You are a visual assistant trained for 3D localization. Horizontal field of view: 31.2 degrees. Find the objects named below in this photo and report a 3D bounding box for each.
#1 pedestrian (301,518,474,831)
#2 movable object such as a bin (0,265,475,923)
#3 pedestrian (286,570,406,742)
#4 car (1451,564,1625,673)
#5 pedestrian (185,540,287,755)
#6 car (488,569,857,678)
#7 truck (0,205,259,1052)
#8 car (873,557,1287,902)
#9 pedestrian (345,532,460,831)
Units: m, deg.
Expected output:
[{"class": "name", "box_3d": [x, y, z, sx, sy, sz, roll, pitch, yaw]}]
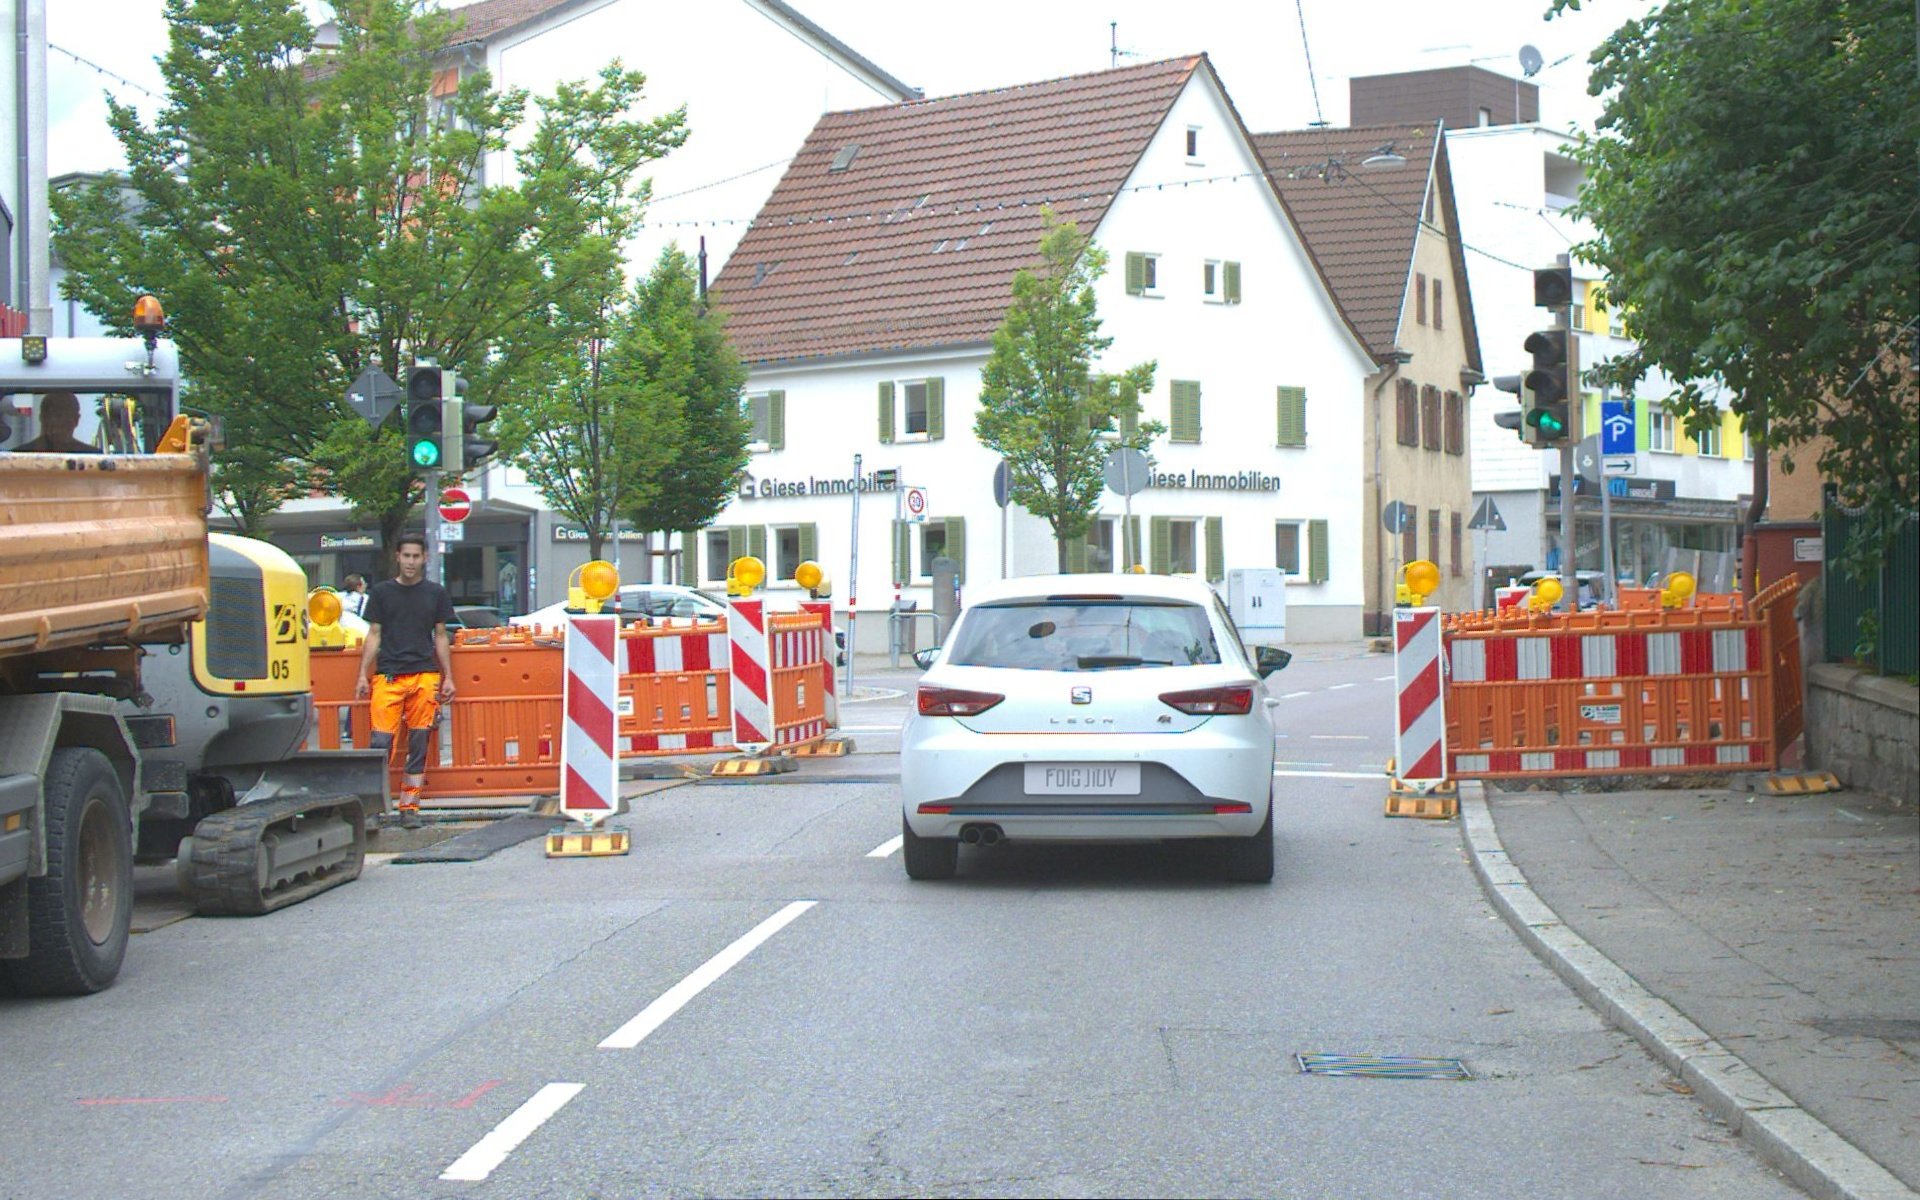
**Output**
[{"class": "pedestrian", "box_3d": [-3.370, 0.430, 20.291, 0.814, 1.809, 0.743, 0, 0, 7]}, {"class": "movable object such as a bin", "box_3d": [-3.797, 0.003, 16.737, 1.839, 2.754, 4.504, -1, -1, 5]}, {"class": "pedestrian", "box_3d": [-5.757, 0.514, 32.245, 0.682, 1.586, 0.878, -1, 0, 29]}, {"class": "car", "box_3d": [8.544, 0.246, 50.598, 1.813, 1.475, 3.866, -1, 1, 21]}, {"class": "pedestrian", "box_3d": [-6.604, 0.421, 31.320, 0.814, 1.919, 0.785, -1, 0, -18]}, {"class": "car", "box_3d": [-4.029, 0.306, 48.797, 4.903, 1.472, 2.249, 0, 1, 5]}, {"class": "truck", "box_3d": [-4.464, 0.111, 10.747, 2.731, 2.715, 6.847, -1, 1, 3]}, {"class": "car", "box_3d": [0.528, 0.551, 17.159, 1.811, 1.475, 3.871, 1, 1, 0]}, {"class": "pedestrian", "box_3d": [-3.278, 0.472, 20.236, 0.537, 1.738, 0.443, -1, 0, 7]}]
